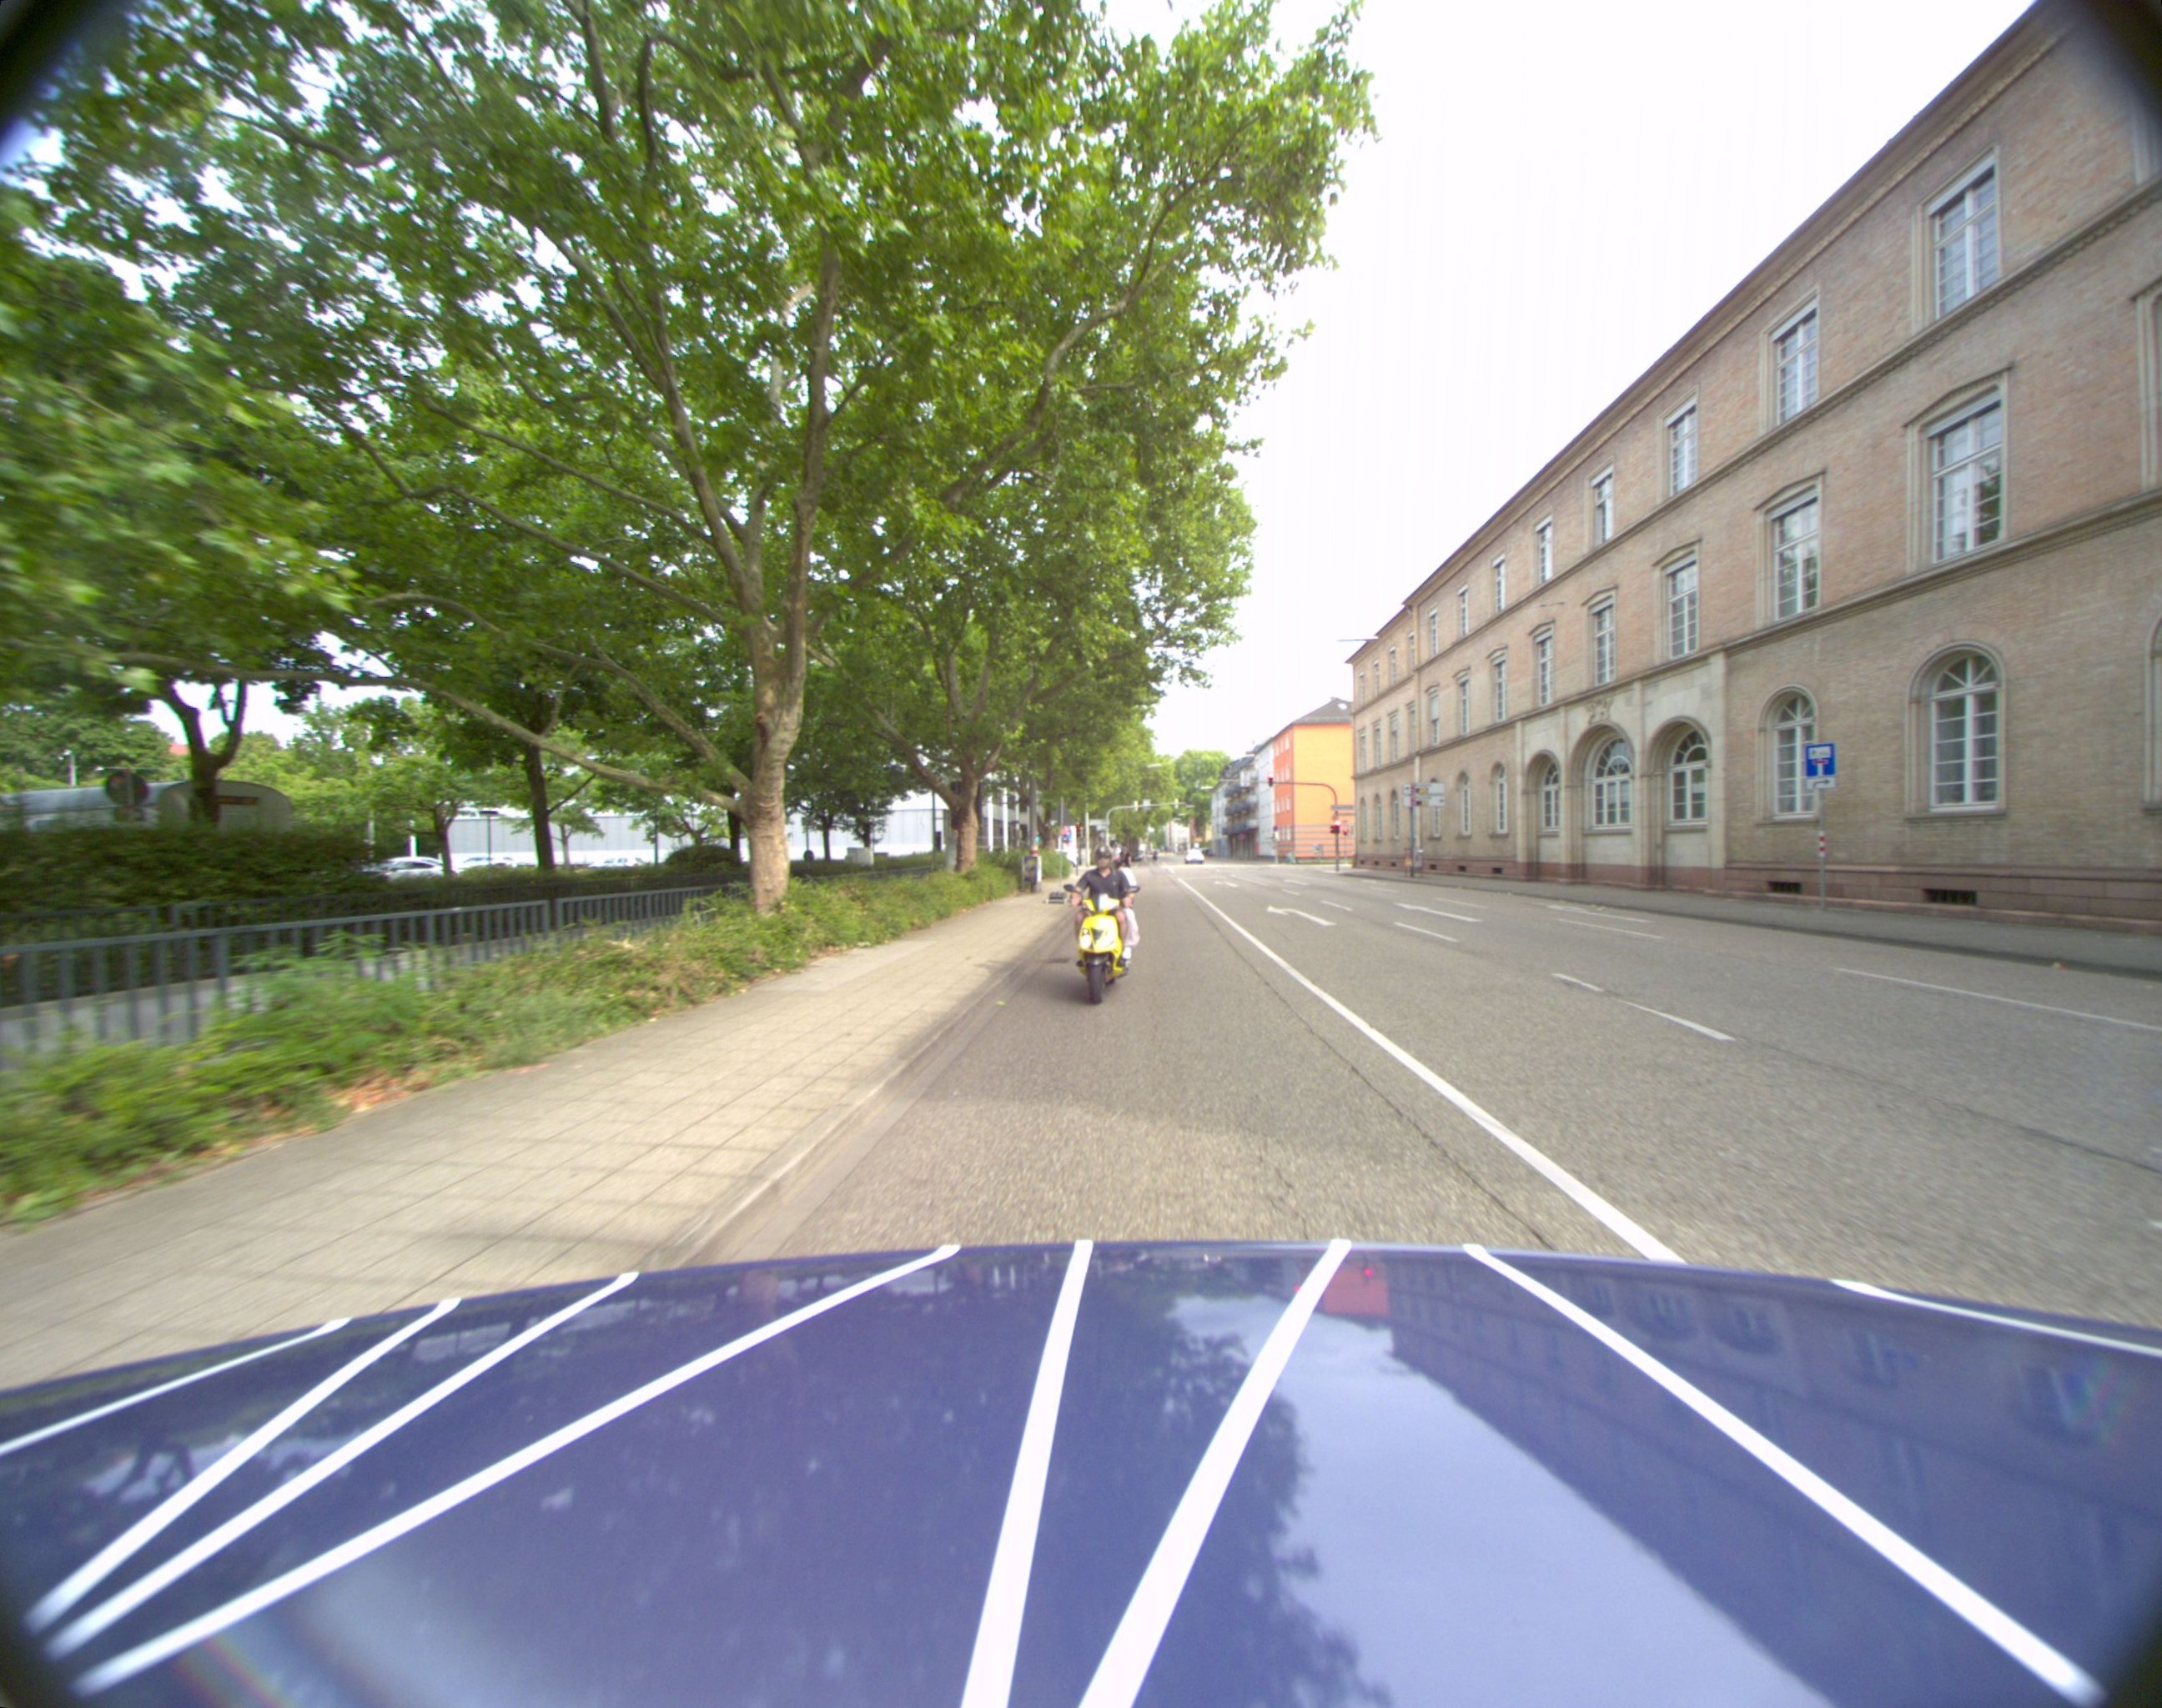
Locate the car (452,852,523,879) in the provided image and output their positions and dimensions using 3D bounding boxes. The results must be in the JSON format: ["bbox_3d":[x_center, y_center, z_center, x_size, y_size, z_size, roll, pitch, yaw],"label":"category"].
[{"bbox_3d":[-46.744,0.897,59.922,3.878,1.850,1.953,-3,0,-4],"label":"car"}]

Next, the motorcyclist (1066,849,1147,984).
[{"bbox_3d":[0.303,0.673,8.465,0.781,1.419,0.689,-2,1,7],"label":"motorcyclist"}]

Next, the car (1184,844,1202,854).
[{"bbox_3d":[25.711,-1.181,174.196,3.996,2.002,2.000,-3,0,4],"label":"car"}]

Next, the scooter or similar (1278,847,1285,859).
[{"bbox_3d":[18.911,-0.062,71.779,0.369,1.117,1.354,-3,0,5],"label":"scooter or similar"}]

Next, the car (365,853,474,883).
[{"bbox_3d":[-39.616,0.810,45.702,1.998,1.621,4.775,-3,0,6],"label":"car"}]

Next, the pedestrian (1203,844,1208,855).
[{"bbox_3d":[23.236,-0.901,141.427,0.842,2.002,0.875,-3,1,9],"label":"pedestrian"}]

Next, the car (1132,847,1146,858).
[{"bbox_3d":[8.790,-0.294,115.210,1.998,1.532,4.273,-3,0,6],"label":"car"}]

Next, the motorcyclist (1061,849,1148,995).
[{"bbox_3d":[0.262,0.676,7.870,0.781,1.419,0.764,-2,1,7],"label":"motorcyclist"}]

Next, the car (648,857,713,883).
[{"bbox_3d":[-31.835,1.228,60.503,3.998,1.849,1.999,-3,0,-4],"label":"car"}]

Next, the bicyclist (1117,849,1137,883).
[{"bbox_3d":[1.999,0.505,32.955,0.784,1.438,0.914,-3,1,5],"label":"bicyclist"}]

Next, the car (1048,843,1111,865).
[{"bbox_3d":[-0.129,0.015,59.524,4.525,1.543,1.997,-3,0,-20],"label":"car"}]

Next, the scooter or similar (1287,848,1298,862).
[{"bbox_3d":[18.225,0.064,65.400,0.330,1.151,1.353,-3,0,-8],"label":"scooter or similar"}]

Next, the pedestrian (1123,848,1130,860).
[{"bbox_3d":[7.885,-0.062,132.037,1.003,2.002,0.998,-3,1,6],"label":"pedestrian"}]

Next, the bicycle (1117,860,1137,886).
[{"bbox_3d":[2.005,0.799,32.840,0.770,1.009,2.408,-3,0,4],"label":"bicycle"}]

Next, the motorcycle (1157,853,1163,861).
[{"bbox_3d":[11.654,0.455,112.247,0.781,1.171,1.993,-2,-1,3],"label":"motorcycle"}]

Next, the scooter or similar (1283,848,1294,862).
[{"bbox_3d":[17.849,0.077,65.303,0.330,1.172,1.342,-3,0,-8],"label":"scooter or similar"}]

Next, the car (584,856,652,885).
[{"bbox_3d":[-36.588,1.292,60.119,3.998,2.002,1.999,-3,0,-4],"label":"car"}]

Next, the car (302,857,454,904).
[{"bbox_3d":[-30.440,1.065,33.143,1.998,1.783,4.773,-3,0,2],"label":"car"}]

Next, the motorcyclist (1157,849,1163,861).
[{"bbox_3d":[11.641,0.124,112.254,0.781,1.651,1.113,-2,0,3],"label":"motorcyclist"}]

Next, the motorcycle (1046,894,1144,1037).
[{"bbox_3d":[0.212,1.082,7.993,0.781,1.171,1.993,-2,1,7],"label":"motorcycle"}]

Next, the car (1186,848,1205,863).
[{"bbox_3d":[11.693,0.137,77.648,1.672,1.430,3.821,-1,0,4],"label":"car"}]
